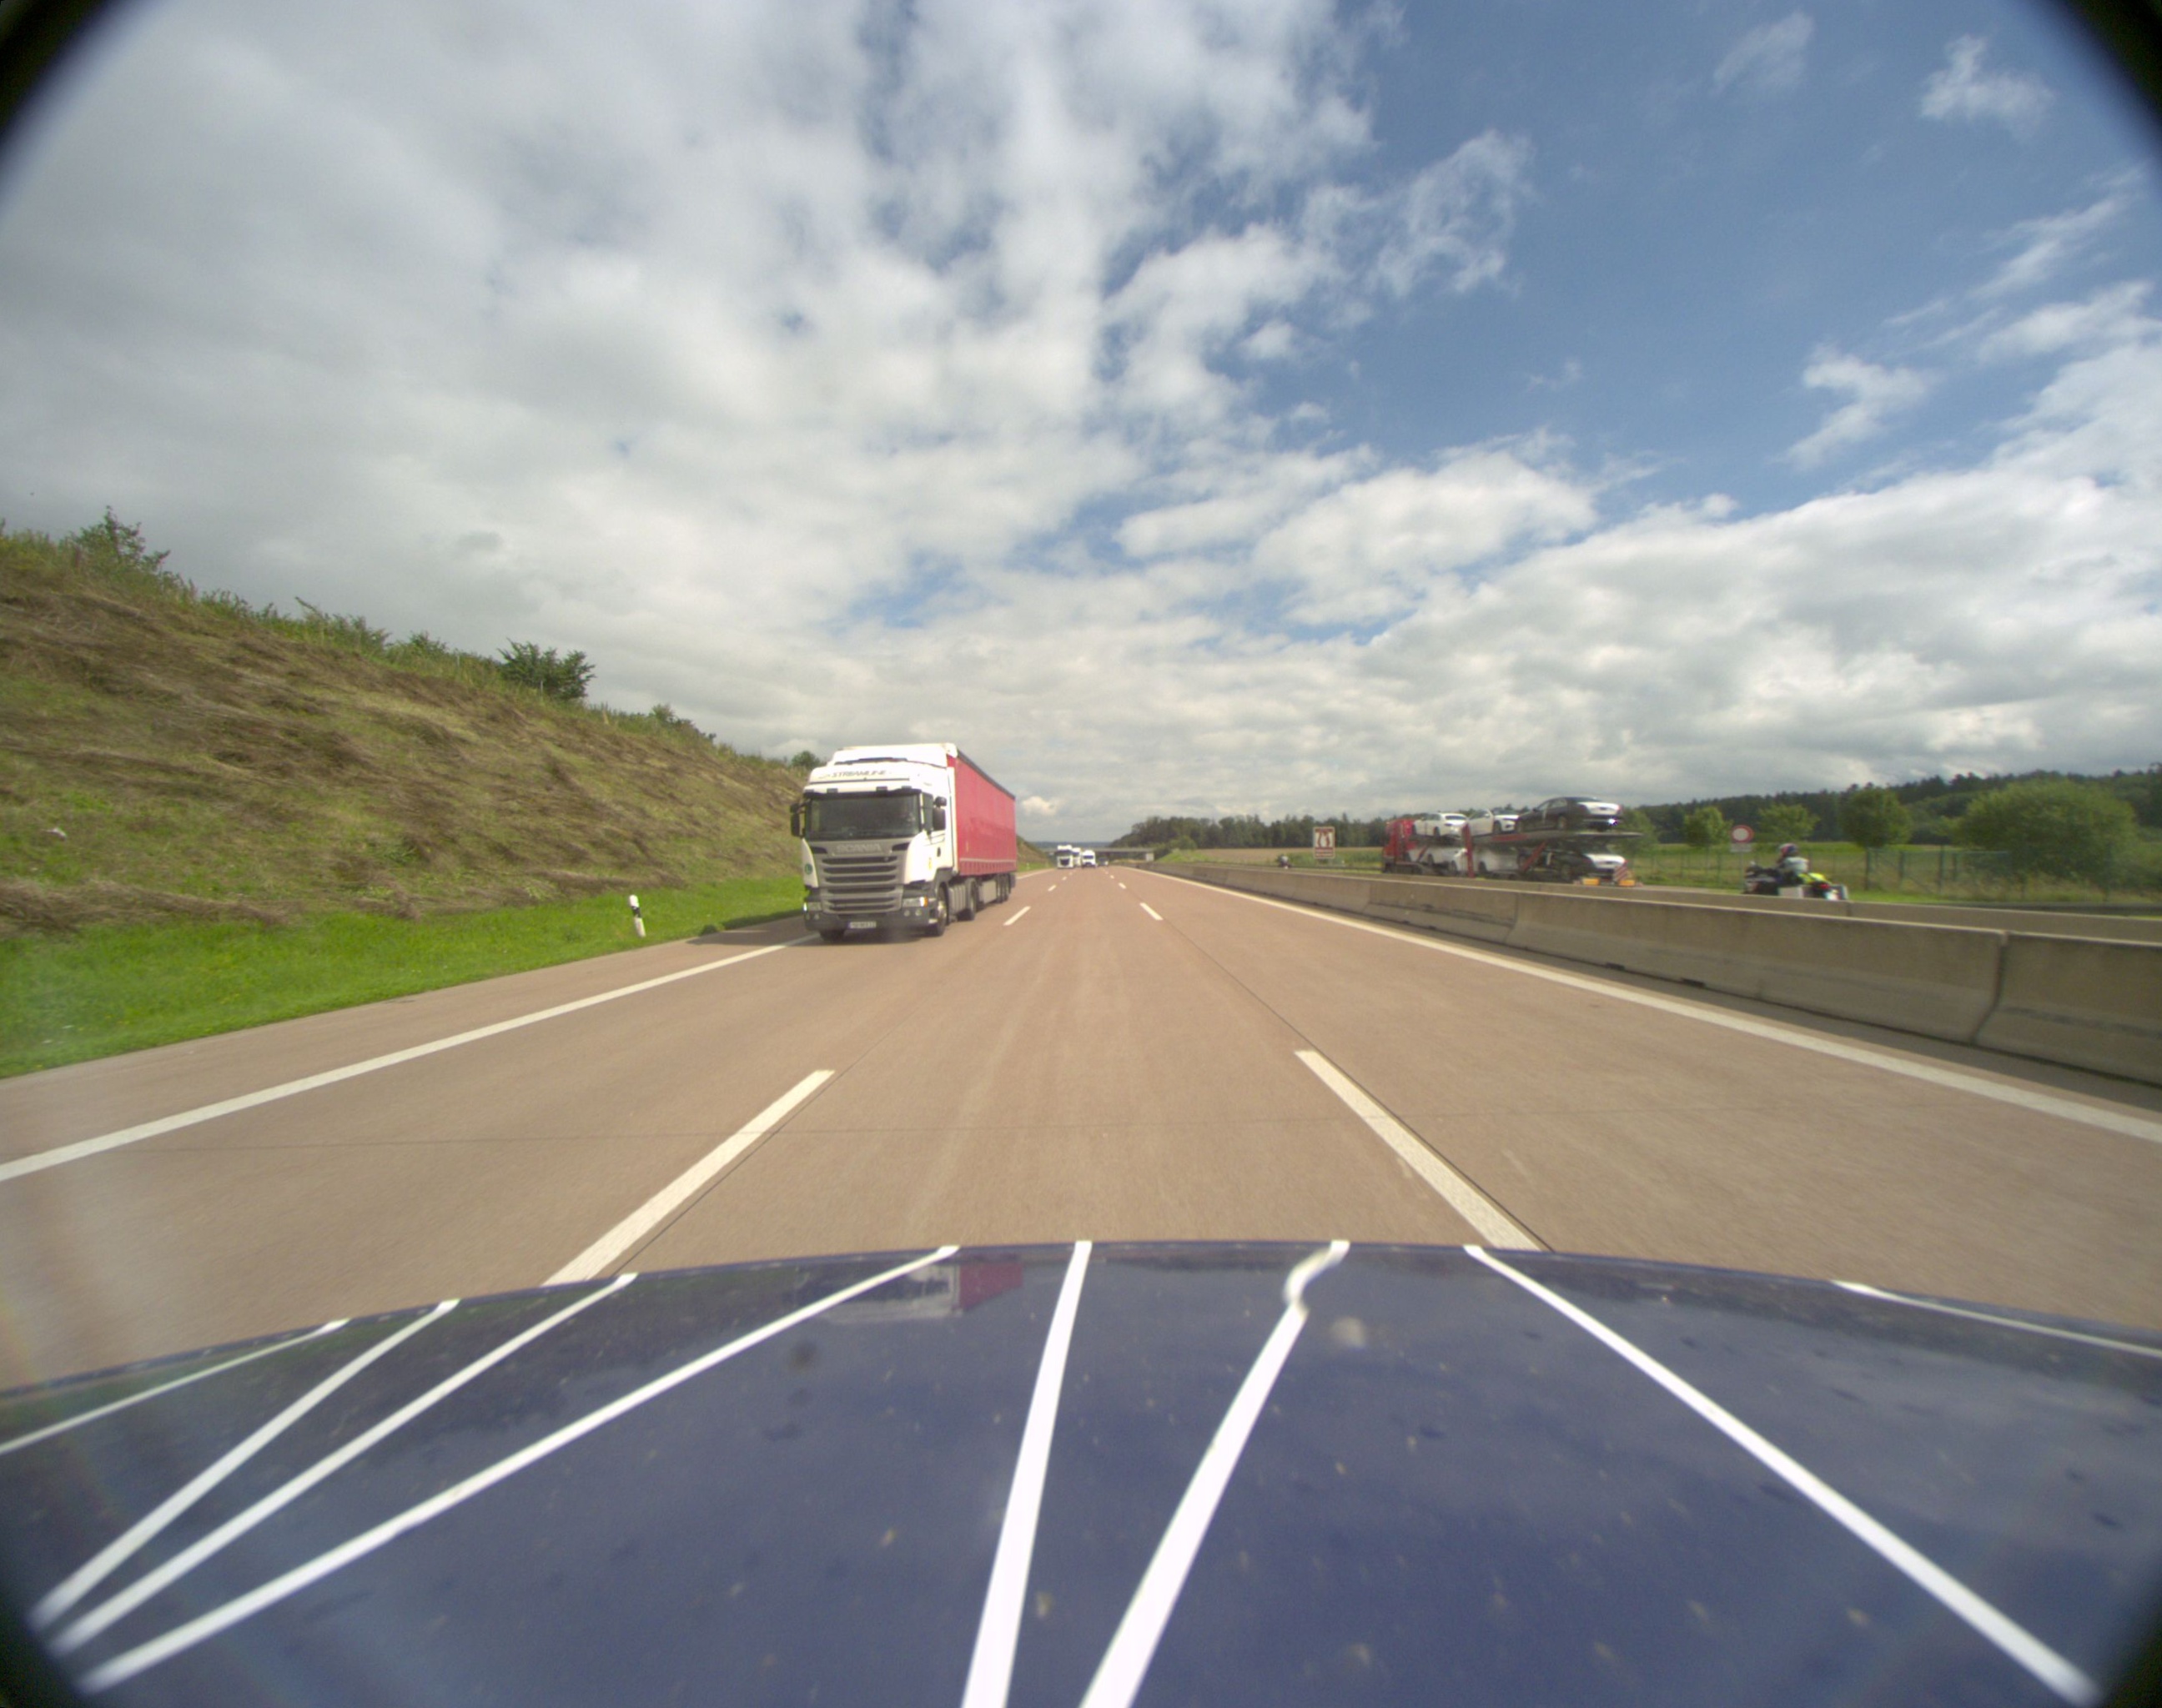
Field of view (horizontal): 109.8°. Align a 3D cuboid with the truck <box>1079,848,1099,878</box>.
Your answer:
[{"bbox_3d":[1.217,1.321,116.810,2.681,4.334,11.808,-2,0,1],"label":"truck"}]

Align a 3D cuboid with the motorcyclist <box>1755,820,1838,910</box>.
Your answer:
[{"bbox_3d":[15.216,0.230,16.185,1.012,1.851,0.744,-2,1,3],"label":"motorcyclist"}]

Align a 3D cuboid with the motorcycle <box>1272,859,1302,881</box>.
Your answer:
[{"bbox_3d":[16.061,1.234,59.428,1.558,1.534,2.841,-2,0,1],"label":"motorcycle"}]

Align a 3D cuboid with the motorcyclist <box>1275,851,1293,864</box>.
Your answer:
[{"bbox_3d":[15.941,0.252,59.644,1.188,0.943,0.839,-2,1,1],"label":"motorcyclist"}]

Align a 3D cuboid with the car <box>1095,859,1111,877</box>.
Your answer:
[{"bbox_3d":[4.194,2.602,143.684,2.773,3.260,6.392,-2,0,1],"label":"car"}]

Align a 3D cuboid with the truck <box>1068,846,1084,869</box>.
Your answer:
[{"bbox_3d":[-0.985,0.686,163.701,2.927,4.659,11.808,-2,0,1],"label":"truck"}]

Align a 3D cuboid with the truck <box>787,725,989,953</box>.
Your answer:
[{"bbox_3d":[-3.909,-0.273,17.154,2.681,4.082,6.616,-1,0,1],"label":"truck"}]

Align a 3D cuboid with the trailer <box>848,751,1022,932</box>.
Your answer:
[{"bbox_3d":[-3.827,-0.302,23.696,2.679,4.069,12.788,-1,0,1],"label":"trailer"}]

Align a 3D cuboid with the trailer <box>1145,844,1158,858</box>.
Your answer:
[{"bbox_3d":[24.081,-1.106,260.600,3.413,4.549,13.871,-1,0,1],"label":"trailer"}]

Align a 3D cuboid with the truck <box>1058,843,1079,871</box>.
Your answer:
[{"bbox_3d":[-1.993,0.395,126.627,3.107,4.334,11.256,-2,0,1],"label":"truck"}]

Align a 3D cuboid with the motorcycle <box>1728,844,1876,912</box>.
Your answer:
[{"bbox_3d":[15.219,0.465,16.151,0.929,1.296,2.342,-2,0,2],"label":"motorcycle"}]

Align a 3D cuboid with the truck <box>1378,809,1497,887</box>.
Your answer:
[{"bbox_3d":[20.056,-0.325,43.405,3.202,3.955,7.730,-2,0,2],"label":"truck"}]

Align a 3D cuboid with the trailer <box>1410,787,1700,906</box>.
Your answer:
[{"bbox_3d":[19.756,-0.276,34.172,3.202,3.955,16.325,-2,0,2],"label":"trailer"}]
